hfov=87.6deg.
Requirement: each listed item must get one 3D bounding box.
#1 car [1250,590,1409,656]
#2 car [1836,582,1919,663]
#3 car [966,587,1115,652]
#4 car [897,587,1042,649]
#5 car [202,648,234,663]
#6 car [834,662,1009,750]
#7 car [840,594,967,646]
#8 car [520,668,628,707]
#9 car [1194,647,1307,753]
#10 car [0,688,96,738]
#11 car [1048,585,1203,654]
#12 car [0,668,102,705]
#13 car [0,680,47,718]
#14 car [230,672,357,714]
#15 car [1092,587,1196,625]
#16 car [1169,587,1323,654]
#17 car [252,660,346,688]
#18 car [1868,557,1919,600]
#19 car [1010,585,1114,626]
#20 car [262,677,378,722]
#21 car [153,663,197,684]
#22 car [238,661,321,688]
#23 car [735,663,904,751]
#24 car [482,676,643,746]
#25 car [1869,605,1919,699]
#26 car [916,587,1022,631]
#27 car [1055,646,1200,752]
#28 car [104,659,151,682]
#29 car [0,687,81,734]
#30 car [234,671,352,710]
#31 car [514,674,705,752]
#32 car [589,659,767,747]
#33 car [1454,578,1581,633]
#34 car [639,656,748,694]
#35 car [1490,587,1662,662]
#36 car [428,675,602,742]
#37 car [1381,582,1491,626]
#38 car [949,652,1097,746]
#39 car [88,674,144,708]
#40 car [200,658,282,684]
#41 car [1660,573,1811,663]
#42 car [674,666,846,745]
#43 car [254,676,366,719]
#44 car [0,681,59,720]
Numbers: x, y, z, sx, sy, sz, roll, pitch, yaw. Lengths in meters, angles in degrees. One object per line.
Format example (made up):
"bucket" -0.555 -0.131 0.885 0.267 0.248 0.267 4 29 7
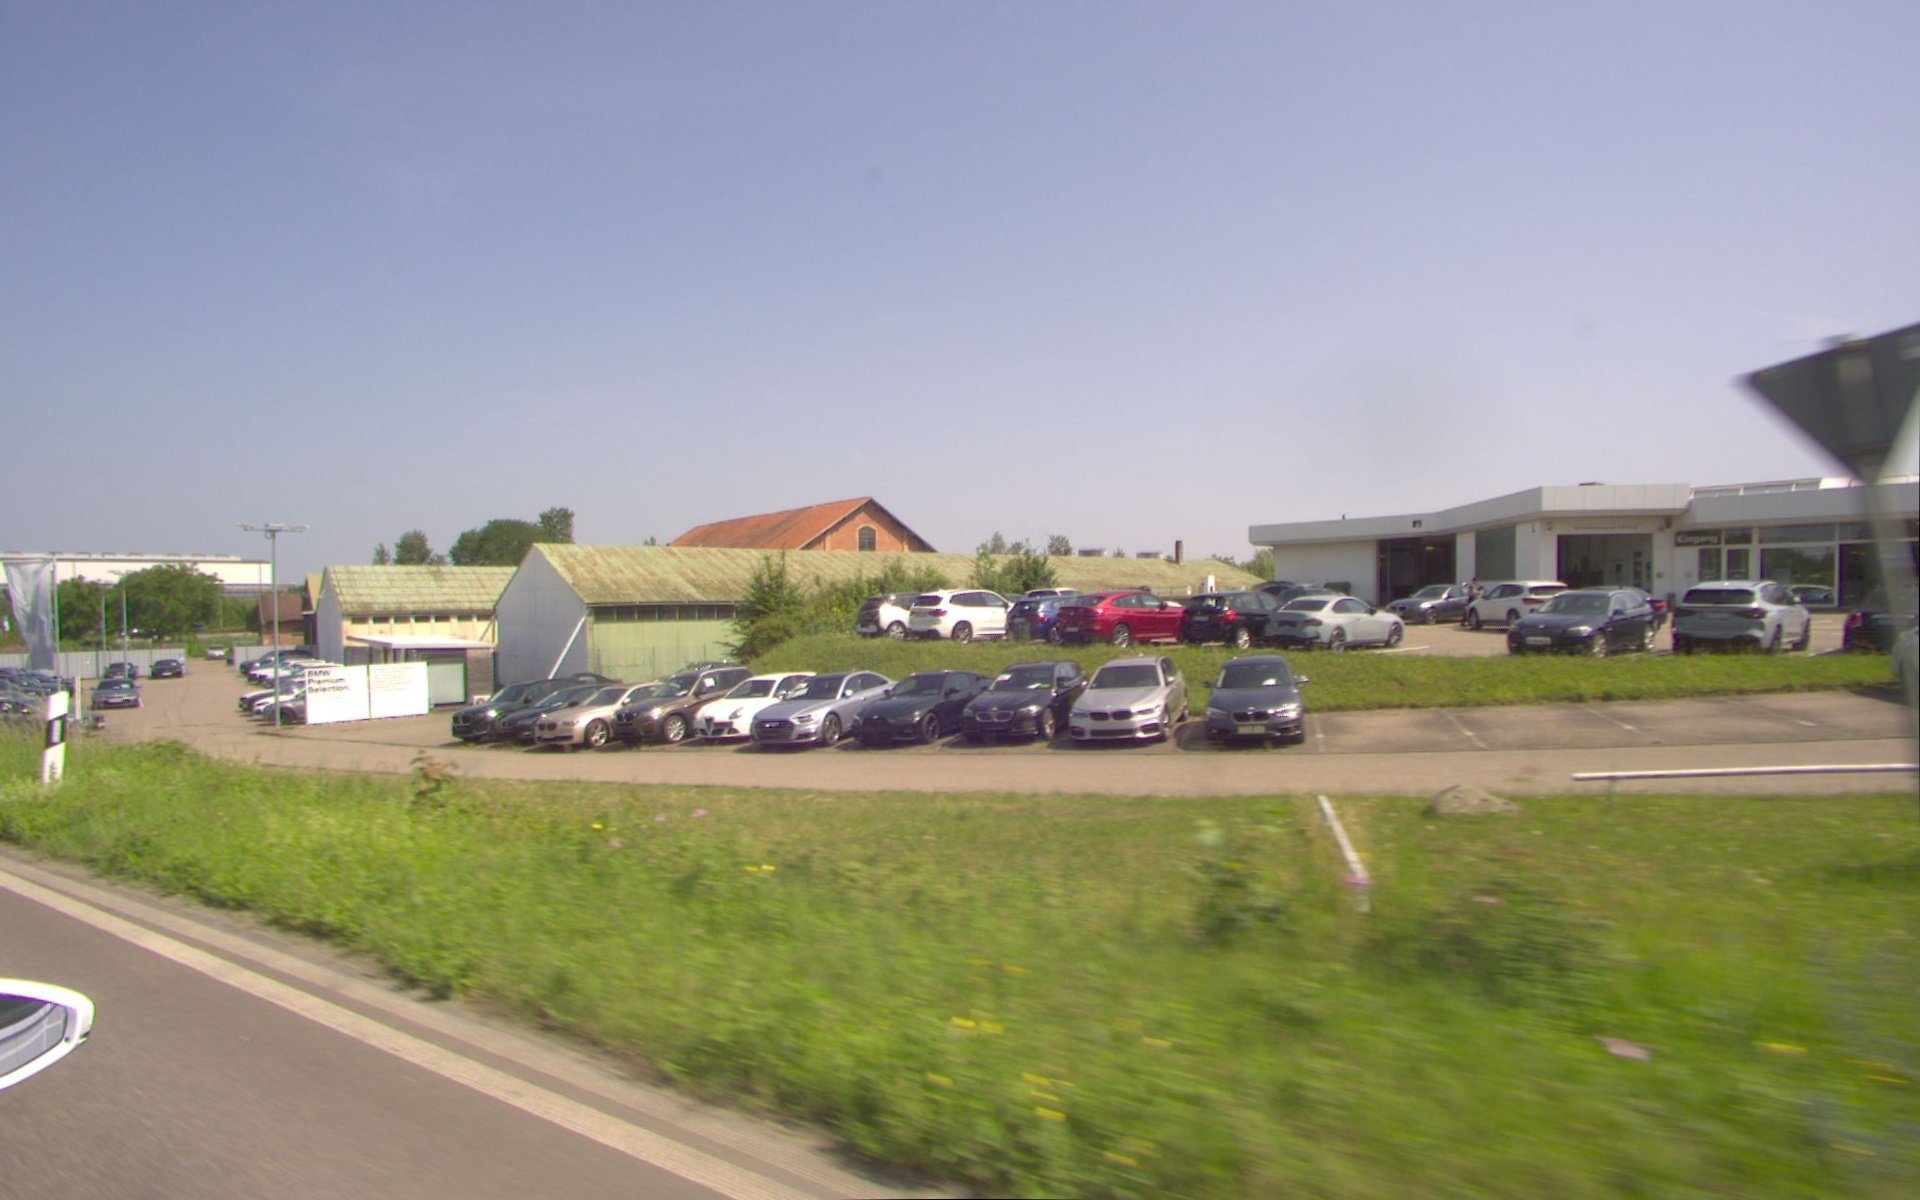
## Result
"car" 9.611 0.552 25.895 4.417 1.520 1.933 -1 0 -40
"car" 20.802 0.435 21.887 3.962 1.520 1.933 -3 3 -40
"car" 2.441 0.541 29.783 4.417 1.770 1.824 -1 0 -40
"car" 0.360 0.540 31.345 4.417 1.770 1.824 -1 0 -40
"car" -75.836 5.646 102.404 1.970 1.416 3.984 0 -2 -28
"car" -0.767 2.356 22.805 1.896 1.431 4.239 -5 0 31
"car" -1.816 0.633 32.664 3.844 1.553 1.753 -1 0 -40
"car" -16.136 3.617 41.931 3.909 1.393 1.704 1 -2 -41
"car" 5.630 1.829 19.349 1.752 1.440 4.564 -5 0 17
"car" -32.620 3.884 34.394 4.101 1.542 1.687 0 -2 -20
"car" 4.772 0.517 28.511 4.417 1.770 1.933 -1 0 -40
"car" -48.500 4.579 53.059 4.160 1.723 1.915 0 0 -16
"car" -42.047 4.283 42.777 4.105 1.542 1.851 0 -2 -25
"car" -29.994 4.133 45.163 1.908 1.543 4.410 -2 -1 36
"car" 8.268 0.300 45.349 2.168 1.617 4.272 -2 0 -37
"car" 7.889 0.521 27.432 4.417 1.656 1.933 -1 0 -40
"car" -42.299 4.720 64.172 1.884 1.542 4.639 -2 -1 31
"car" 37.714 -0.857 39.547 3.988 1.607 1.897 -1 0 -35
"car" 4.201 0.256 41.901 1.899 1.617 4.272 -2 0 -37
"car" -25.621 3.949 40.219 3.745 1.542 1.745 0 -2 -27
"car" -60.962 5.683 77.797 1.970 1.416 3.984 0 -2 -28
"car" -46.306 5.014 68.219 1.881 1.543 4.323 0 -1 26
"car" -3.187 2.462 23.720 1.892 1.484 4.421 -5 0 23
"car" -11.384 3.167 28.959 1.970 1.571 3.984 -4 -2 27
"car" 17.362 0.913 16.435 1.736 1.591 4.570 -2 0 16
"car" 0.293 0.363 38.847 1.899 1.617 4.272 -2 0 -37
"car" 3.574 1.950 20.618 1.891 1.586 4.559 -4 0 22
"car" -63.450 5.346 76.384 1.828 1.554 4.625 0 -2 -28
"car" -34.998 4.049 36.491 4.106 1.542 1.746 0 -2 -25
"car" -32.179 4.311 48.399 1.911 1.542 4.403 -3 -2 41
"car" -9.515 3.043 27.618 1.972 1.527 4.757 -5 -1 31
"car" -7.320 2.654 26.427 1.972 1.771 4.239 -4 0 31
"car" 17.901 0.163 32.398 1.625 1.607 4.267 -1 0 -1
"car" -12.120 3.377 45.672 4.411 1.490 1.966 1 -2 -41
"car" 14.235 0.520 23.100 3.955 1.547 1.937 -1 0 -34
"car" -13.403 3.234 30.445 2.115 1.660 4.479 -3 -2 27
"car" 18.378 0.144 38.575 4.410 1.542 1.936 -1 0 -36
"car" 1.497 2.087 21.917 1.891 1.501 4.249 -5 0 22
"car" -43.400 4.638 51.536 2.118 1.475 4.496 1 -2 -40
"car" -50.526 4.970 70.481 1.881 1.543 4.323 0 -1 26
"car" 17.629 0.358 22.710 3.963 1.774 1.933 -3 1 -40
"car" -4.980 2.637 25.505 1.848 1.484 4.239 -4 -1 31
"car" -27.675 4.134 42.772 3.917 1.542 1.741 -1 -2 -33
"car" -47.684 4.965 49.260 4.564 1.723 1.851 0 0 -20
